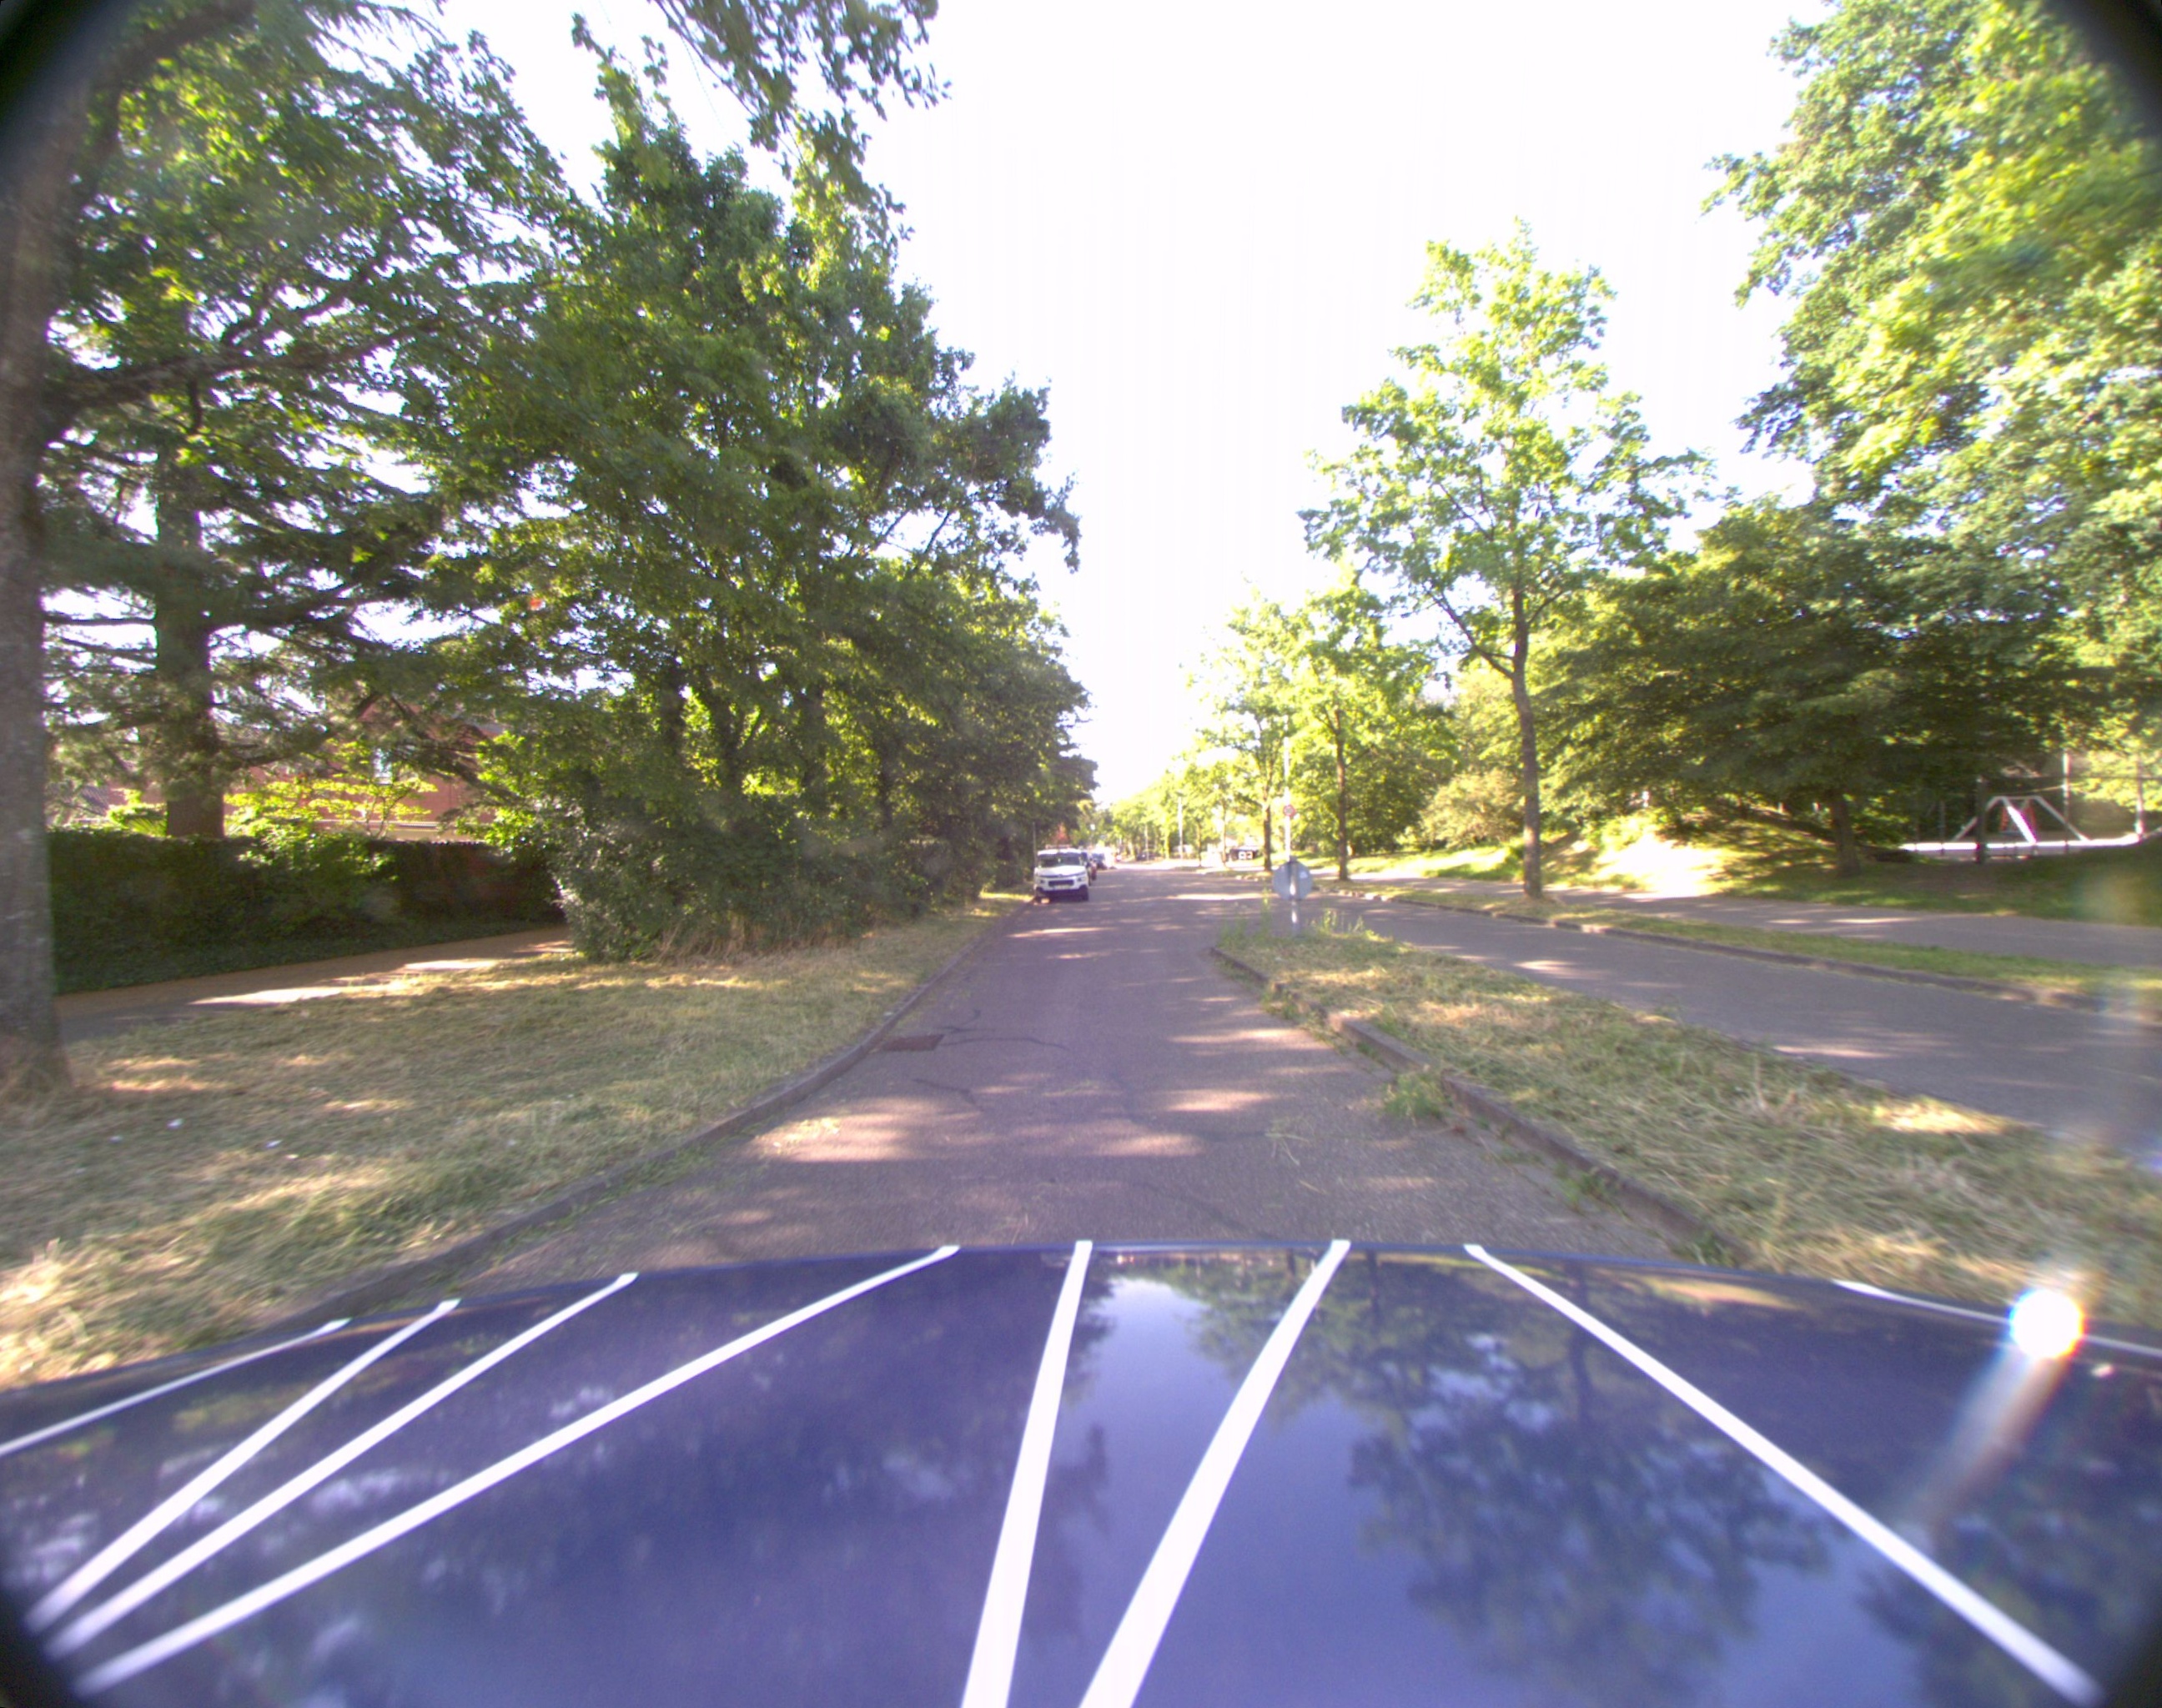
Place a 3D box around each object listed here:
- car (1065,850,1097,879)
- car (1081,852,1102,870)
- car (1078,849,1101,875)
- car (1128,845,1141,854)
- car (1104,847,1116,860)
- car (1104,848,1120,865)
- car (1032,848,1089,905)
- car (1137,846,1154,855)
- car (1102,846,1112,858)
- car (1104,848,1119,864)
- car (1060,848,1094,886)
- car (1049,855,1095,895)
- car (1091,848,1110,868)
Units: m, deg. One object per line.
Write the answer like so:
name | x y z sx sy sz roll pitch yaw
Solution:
car | 0.051 0.598 45.816 1.772 1.629 3.753 -2 1 2
car | 0.857 0.544 61.914 1.499 1.351 3.467 -2 1 4
car | 0.604 0.512 52.065 1.500 1.629 3.753 -2 1 2
car | 9.870 -0.801 139.394 1.999 1.574 3.999 -1 1 -1
car | 3.910 -0.115 101.599 1.421 1.644 3.910 -2 1 4
car | 3.200 0.194 78.128 1.449 1.644 3.720 -2 1 4
car | -0.705 0.703 26.571 1.754 1.739 4.633 -2 1 -1
car | 10.191 -0.553 120.141 1.999 1.359 3.997 -1 1 -5
car | 3.853 -0.303 112.196 1.421 1.644 3.910 -2 1 4
car | 3.347 0.245 83.551 1.449 1.644 3.720 -2 1 4
car | -0.152 0.612 37.864 1.500 1.744 3.802 -2 1 2
car | -0.309 0.817 32.123 1.722 1.436 4.614 -3 0 2
car | 1.745 0.337 68.399 1.499 1.644 4.092 -2 1 4
